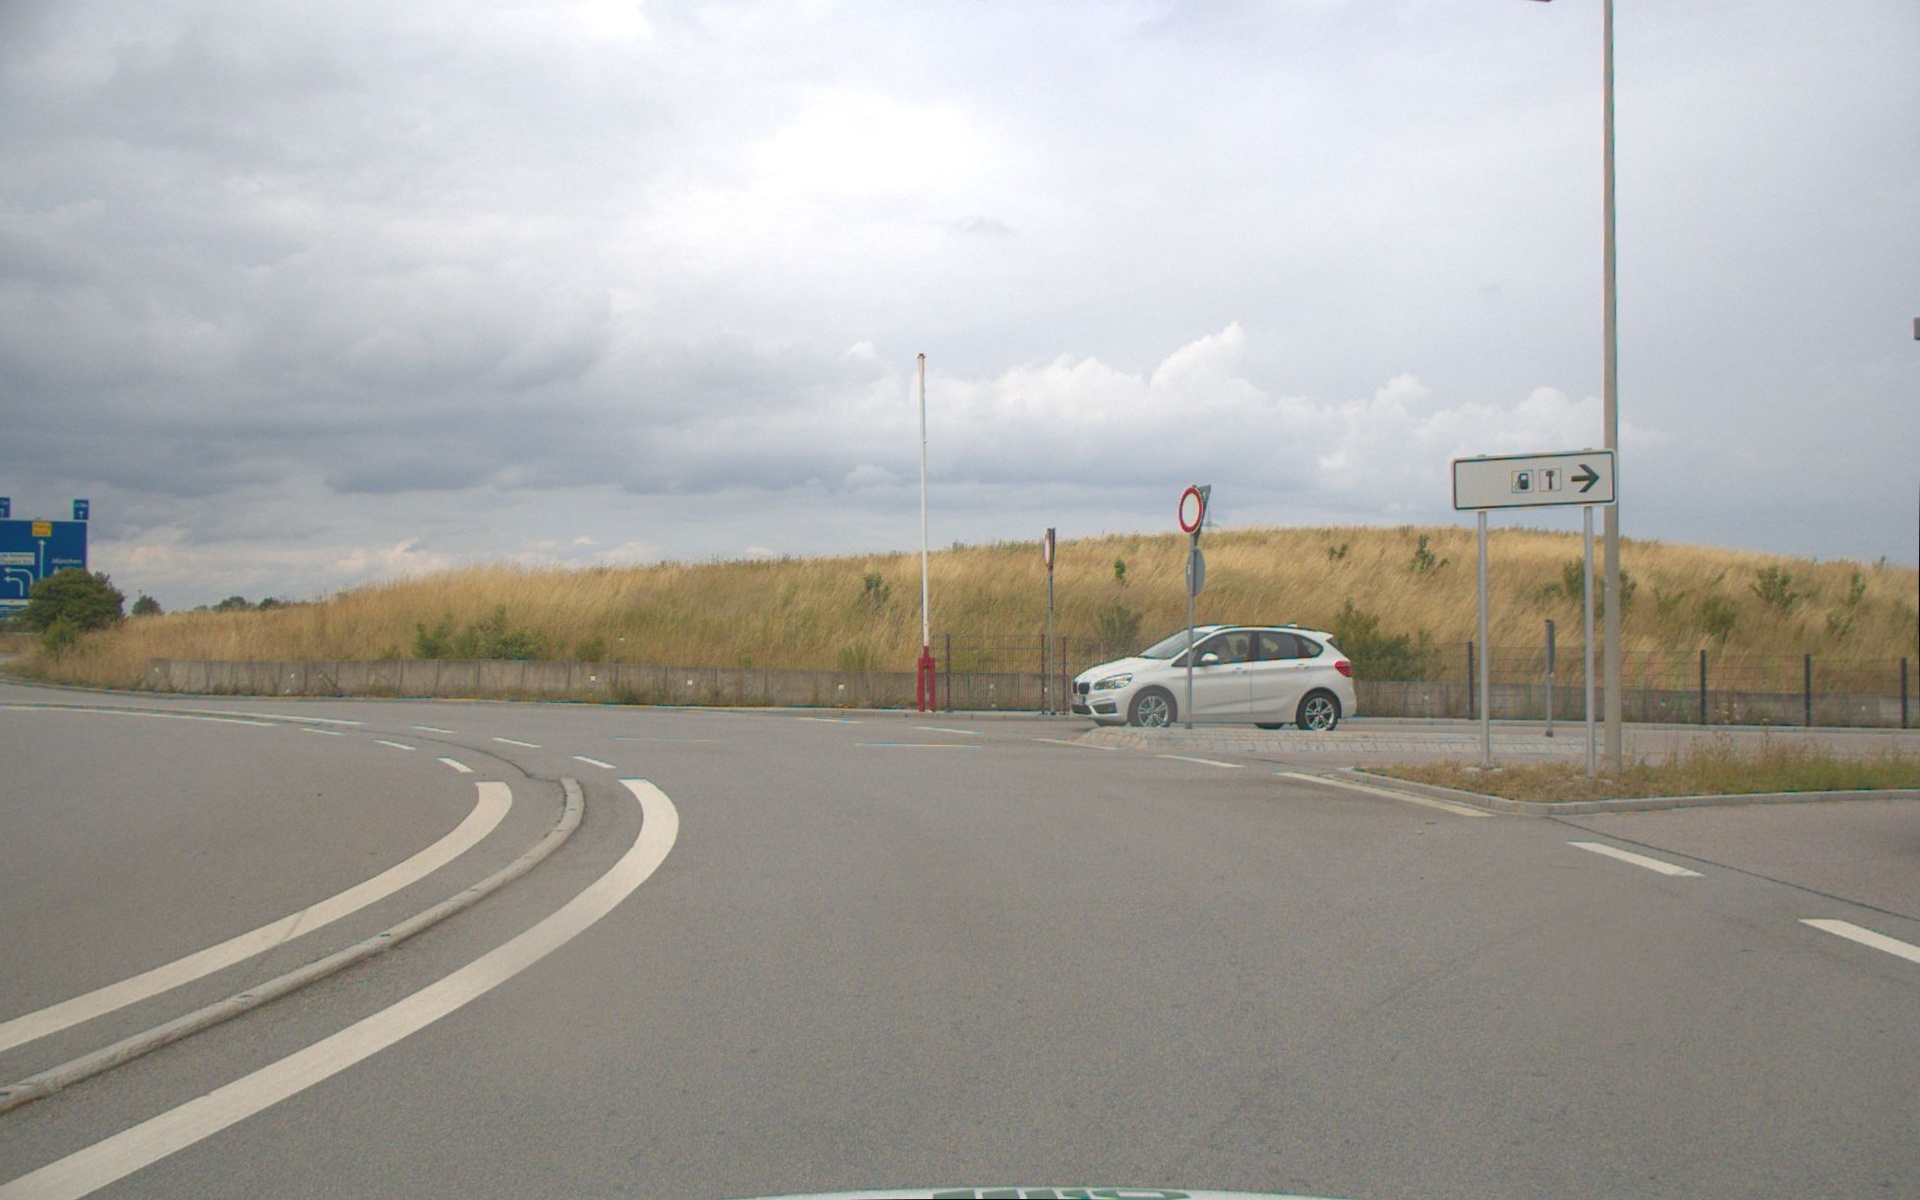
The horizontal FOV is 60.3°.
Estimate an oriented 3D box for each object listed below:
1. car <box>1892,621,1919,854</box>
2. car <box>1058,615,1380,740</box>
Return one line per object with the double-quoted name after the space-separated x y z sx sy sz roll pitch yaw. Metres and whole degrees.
8.584 1.023 12.185 3.967 1.601 1.887 3 -1 -43 "car"
3.805 1.133 24.431 4.341 1.657 1.777 2 0 -16 "car"
